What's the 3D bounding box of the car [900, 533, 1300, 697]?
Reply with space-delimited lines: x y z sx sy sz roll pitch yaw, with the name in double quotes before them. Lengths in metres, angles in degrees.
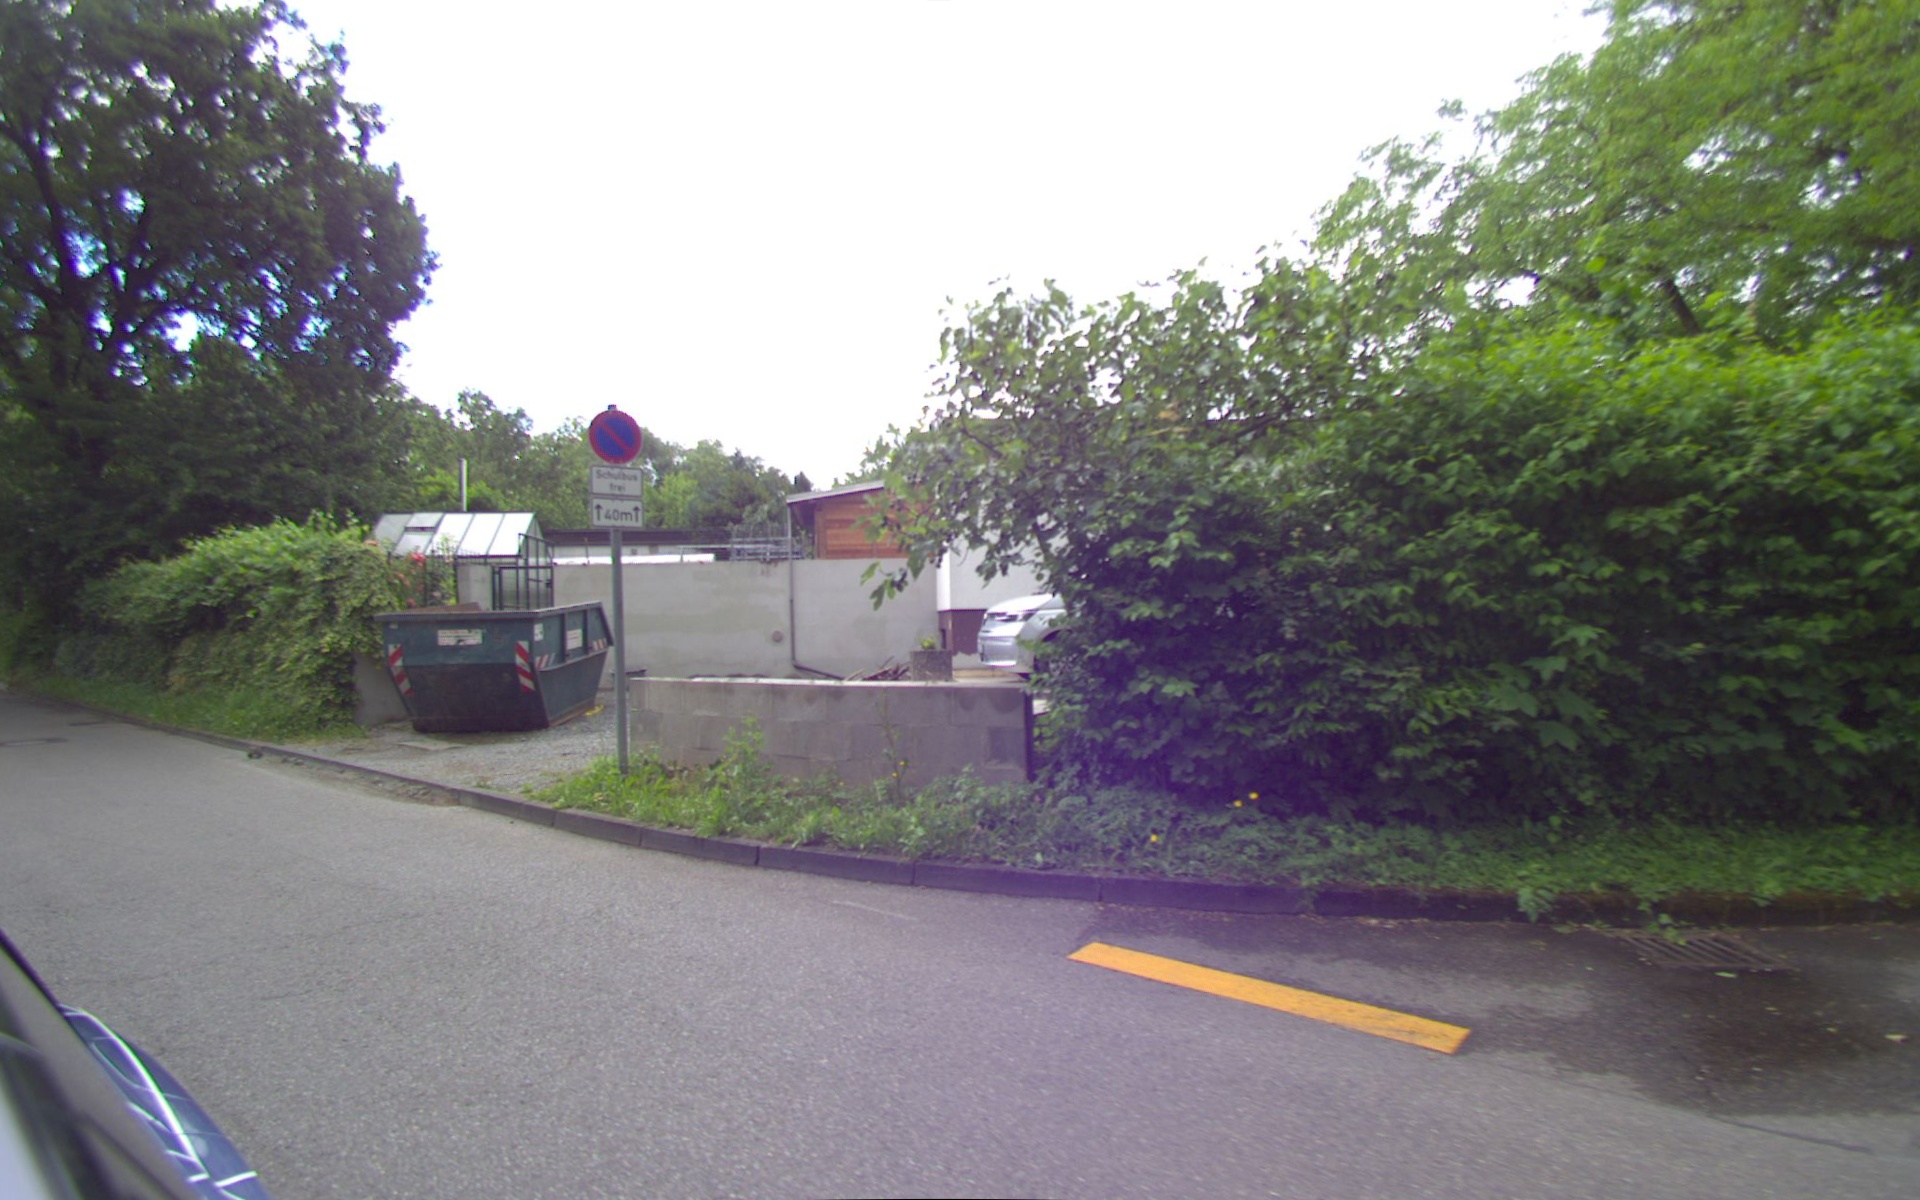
"car" 1.750 0.170 13.573 4.850 1.819 2.034 -2 -1 -9
